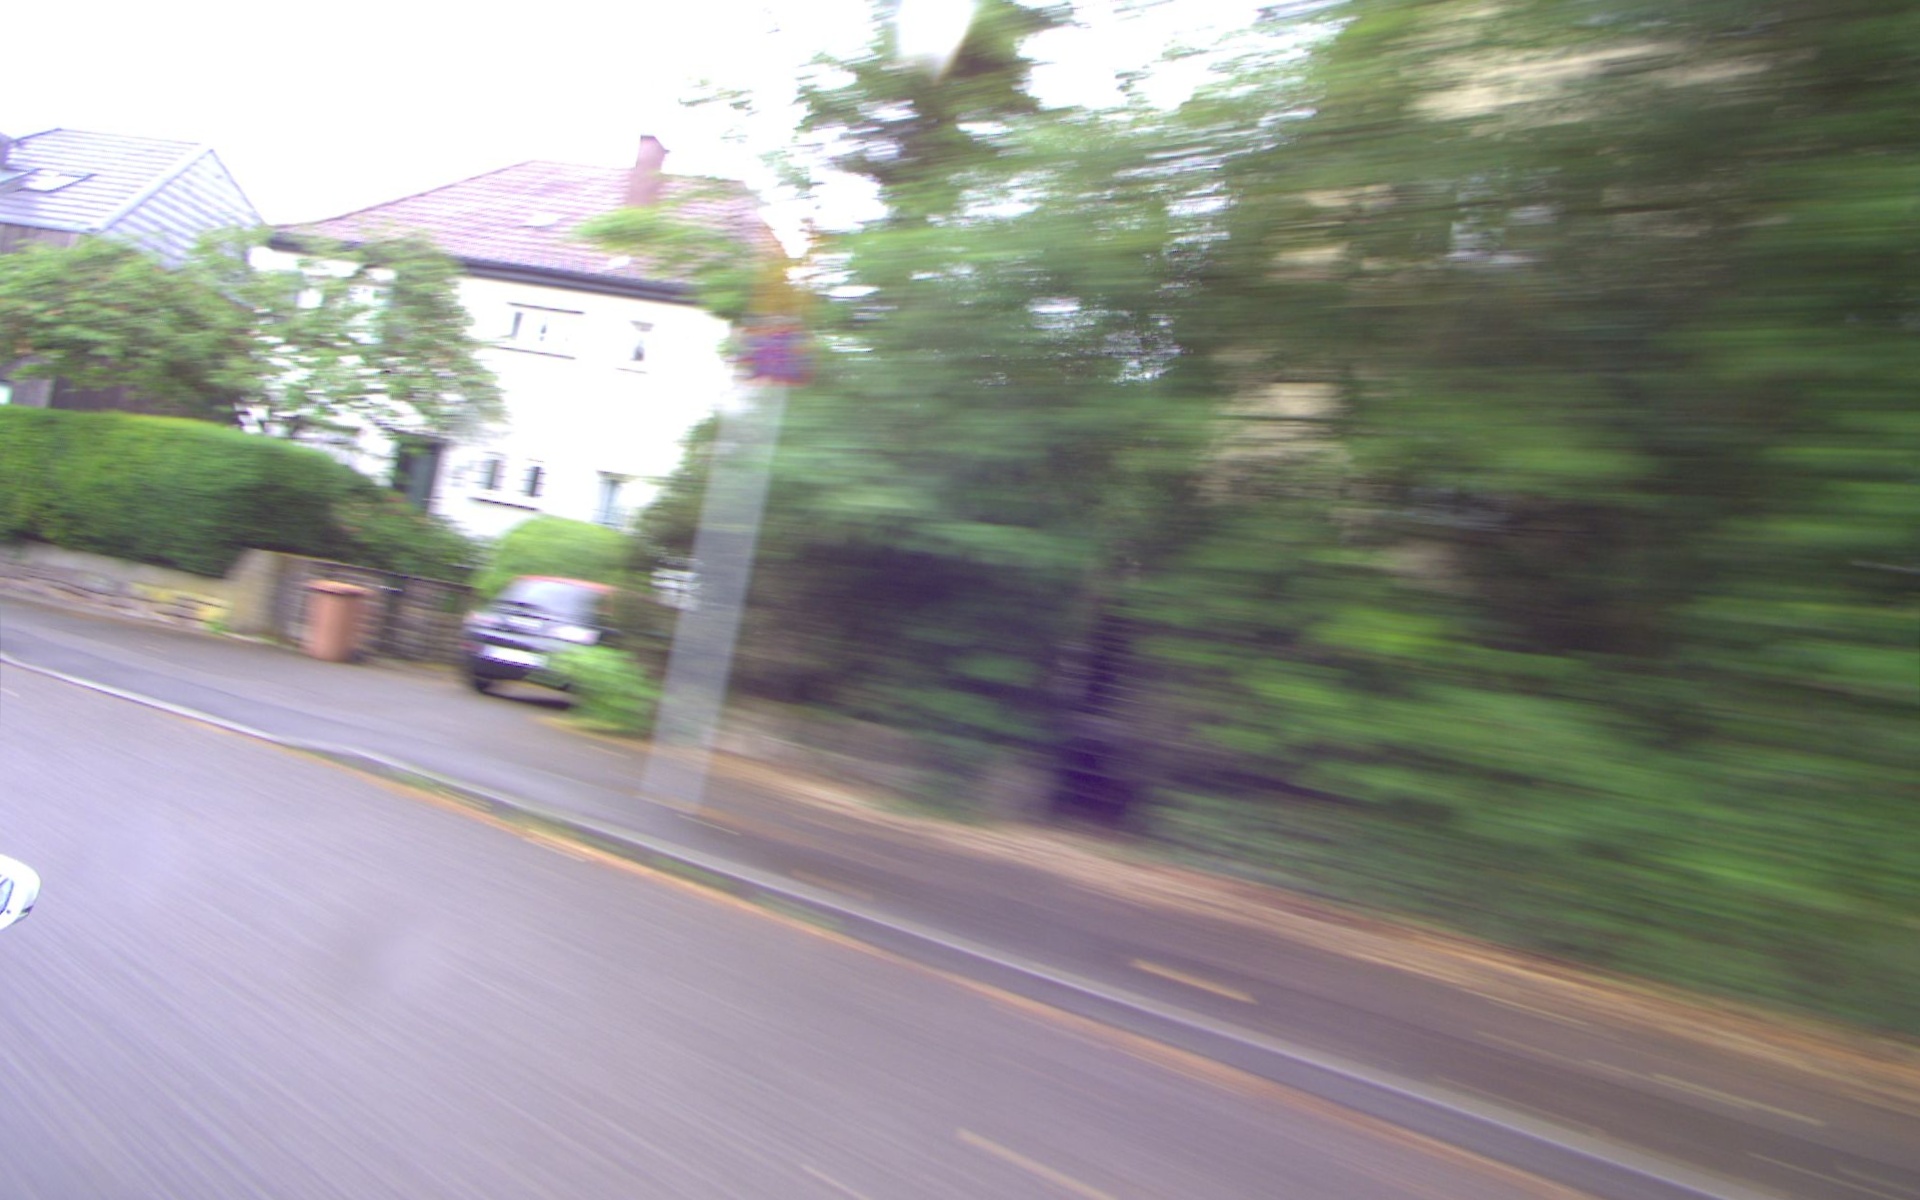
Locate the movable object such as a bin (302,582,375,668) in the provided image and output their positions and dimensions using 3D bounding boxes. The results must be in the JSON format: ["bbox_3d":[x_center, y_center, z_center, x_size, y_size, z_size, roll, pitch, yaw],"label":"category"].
[{"bbox_3d":[-7.349,0.305,11.900,0.454,0.930,0.420,8,-2,21],"label":"movable object such as a bin"}]

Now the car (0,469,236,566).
[{"bbox_3d":[-18.322,-1.726,21.374,1.775,1.549,4.572,9,2,14],"label":"car"}]

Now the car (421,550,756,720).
[{"bbox_3d":[-4.371,0.575,12.612,1.739,1.511,4.010,9,-4,16],"label":"car"}]
